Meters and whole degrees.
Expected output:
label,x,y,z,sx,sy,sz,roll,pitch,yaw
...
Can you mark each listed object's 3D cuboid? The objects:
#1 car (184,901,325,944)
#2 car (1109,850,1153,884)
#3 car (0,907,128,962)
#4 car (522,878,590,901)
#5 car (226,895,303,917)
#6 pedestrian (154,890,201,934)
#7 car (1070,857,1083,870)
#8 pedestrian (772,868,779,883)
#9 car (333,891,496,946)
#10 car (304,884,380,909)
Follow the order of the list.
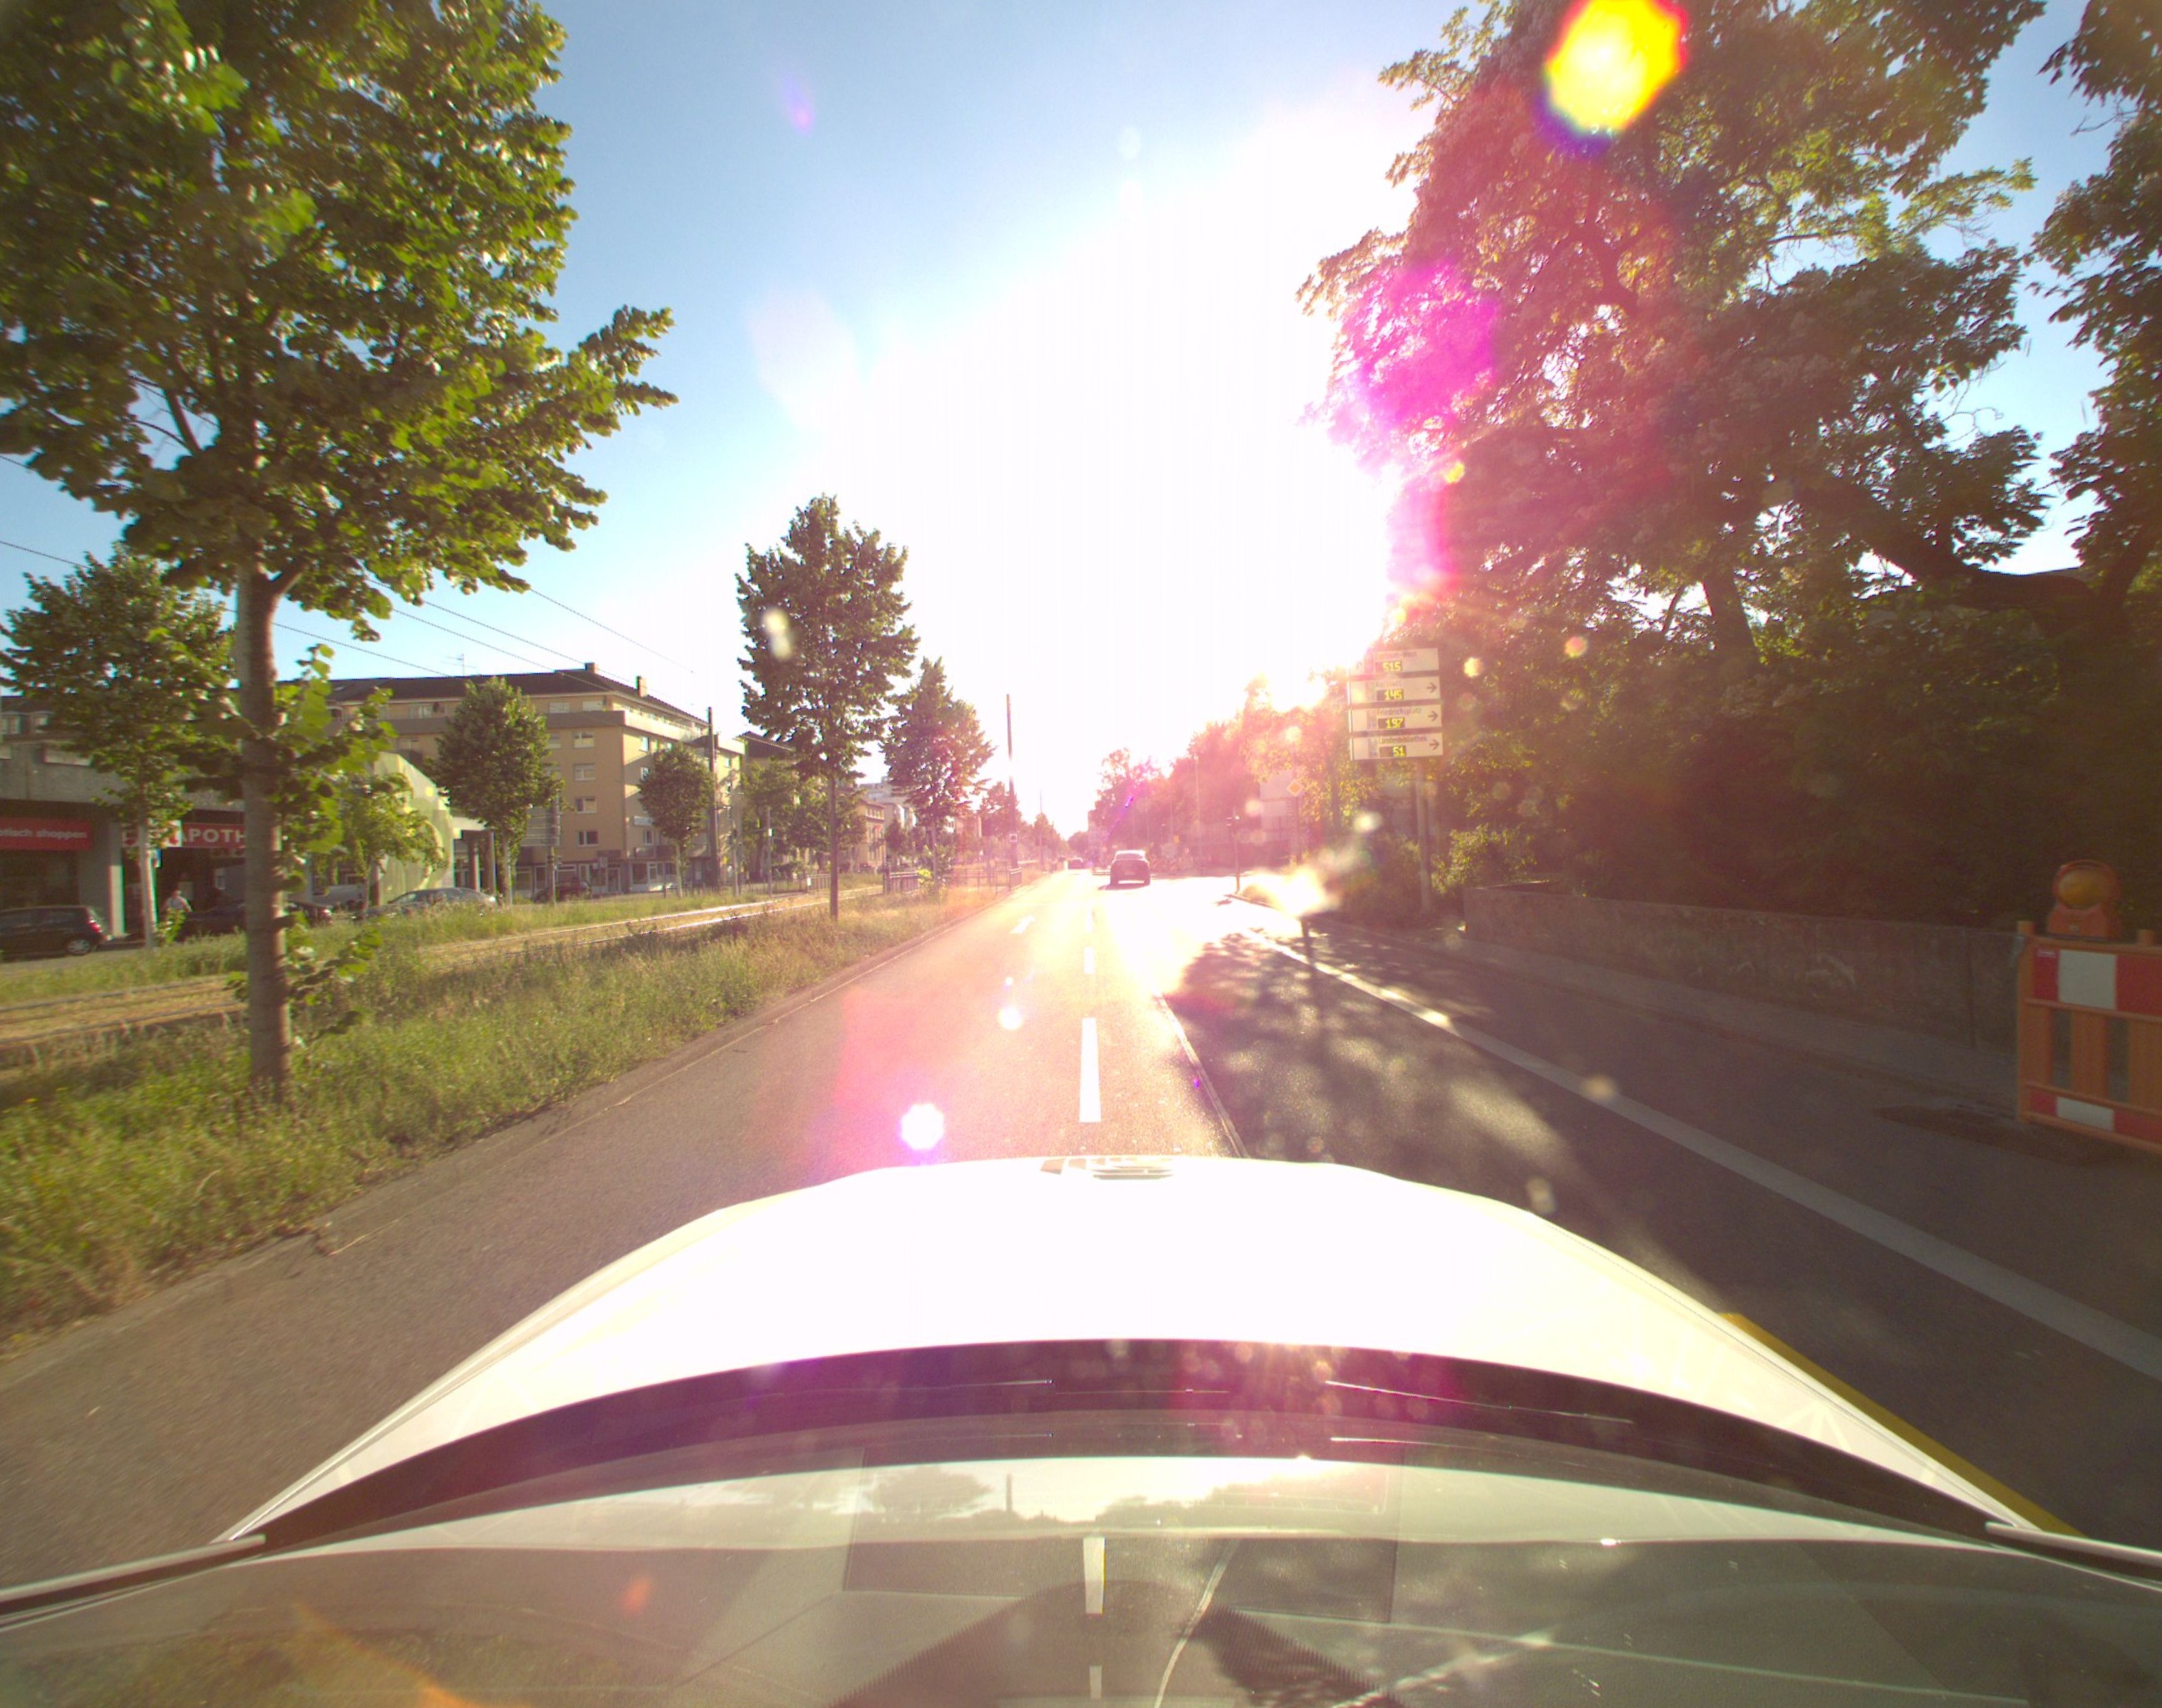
label,x,y,z,sx,sy,sz,roll,pitch,yaw
car,-29.592,2.416,29.292,3.486,1.274,1.601,0,-1,-44
car,2.517,0.669,41.754,1.999,1.659,3.999,-1,-1,0
car,-30.703,2.362,23.843,3.486,1.402,1.601,0,-1,-44
car,-40.738,2.770,63.286,3.975,1.496,1.846,-3,0,-1
car,-63.522,4.033,63.420,3.975,1.433,1.846,-3,0,-1
pedestrian,-35.101,2.233,31.642,0.772,1.639,0.882,-2,-1,-1
car,-0.585,1.299,110.176,1.821,1.659,3.999,-1,-1,0
pedestrian,-33.703,2.365,89.844,0.520,1.555,0.446,-2,-1,-15
car,-23.054,2.186,28.456,1.863,1.588,4.639,-1,-1,0
car,-57.344,3.283,63.208,3.974,1.743,2.000,-2,0,0
